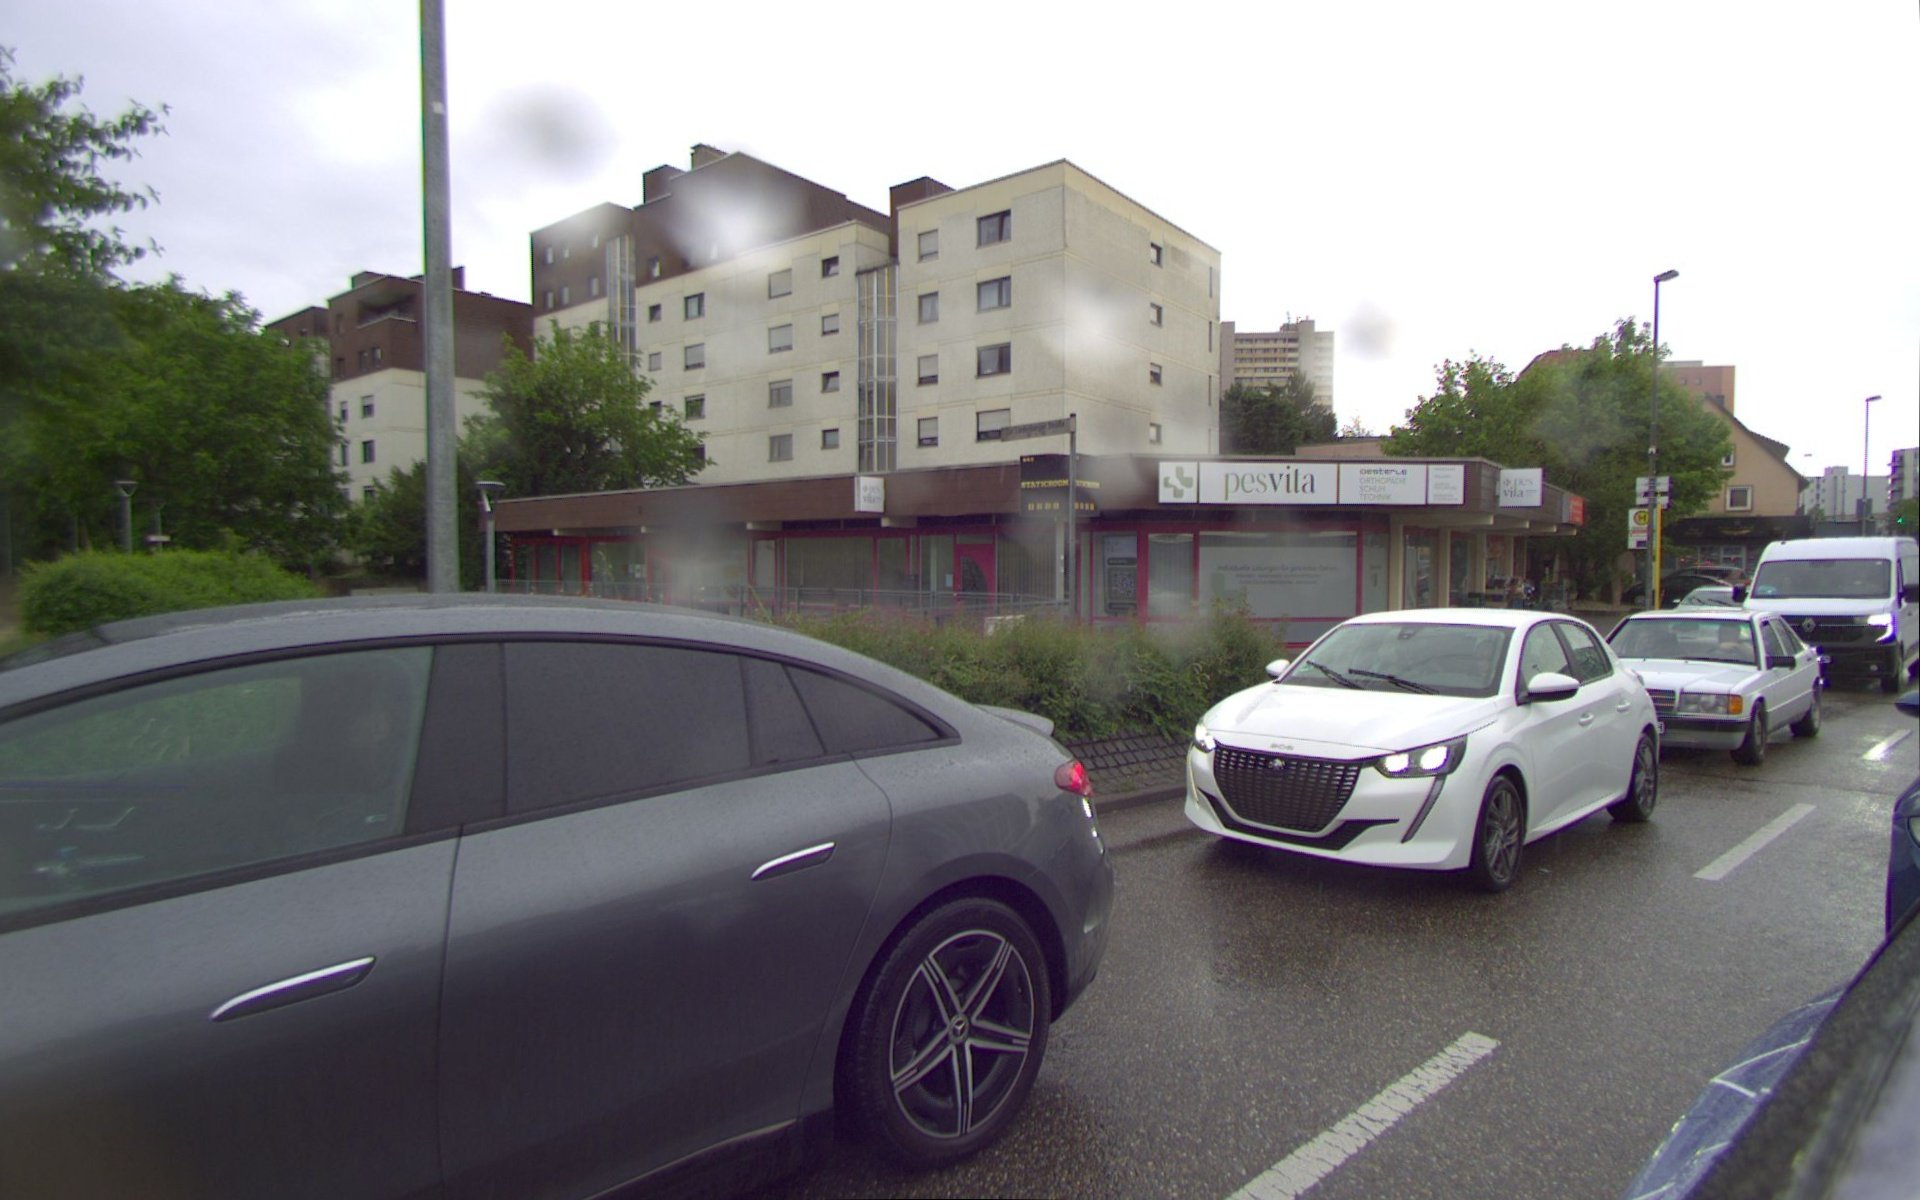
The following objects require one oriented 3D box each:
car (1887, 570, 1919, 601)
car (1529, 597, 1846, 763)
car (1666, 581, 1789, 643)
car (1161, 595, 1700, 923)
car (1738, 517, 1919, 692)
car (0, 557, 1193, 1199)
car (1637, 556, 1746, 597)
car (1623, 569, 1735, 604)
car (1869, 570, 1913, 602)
[{"bbox_3d":[50.412,-0.796,53.330,3.933,1.588,1.996,-2,1,-43],"label":"car"},{"bbox_3d":[7.719,0.672,10.601,4.089,1.362,1.787,-1,1,-41],"label":"car"},{"bbox_3d":[20.244,0.266,26.640,3.930,1.509,1.787,-1,1,-41],"label":"car"},{"bbox_3d":[3.219,0.709,6.530,4.043,1.433,1.665,-1,1,-41],"label":"car"},{"bbox_3d":[15.466,-0.019,17.581,6.021,2.549,2.194,-2,2,-43],"label":"car"},{"bbox_3d":[-1.610,0.688,2.430,4.724,1.485,1.840,0,-1,-41],"label":"car"},{"bbox_3d":[33.849,-1.099,46.853,3.981,1.801,1.858,2,2,39],"label":"car"},{"bbox_3d":[32.100,-0.635,45.254,3.981,1.445,1.858,2,2,39],"label":"car"},{"bbox_3d":[61.516,-0.949,66.919,1.992,2.038,3.941,2,3,41],"label":"car"}]
